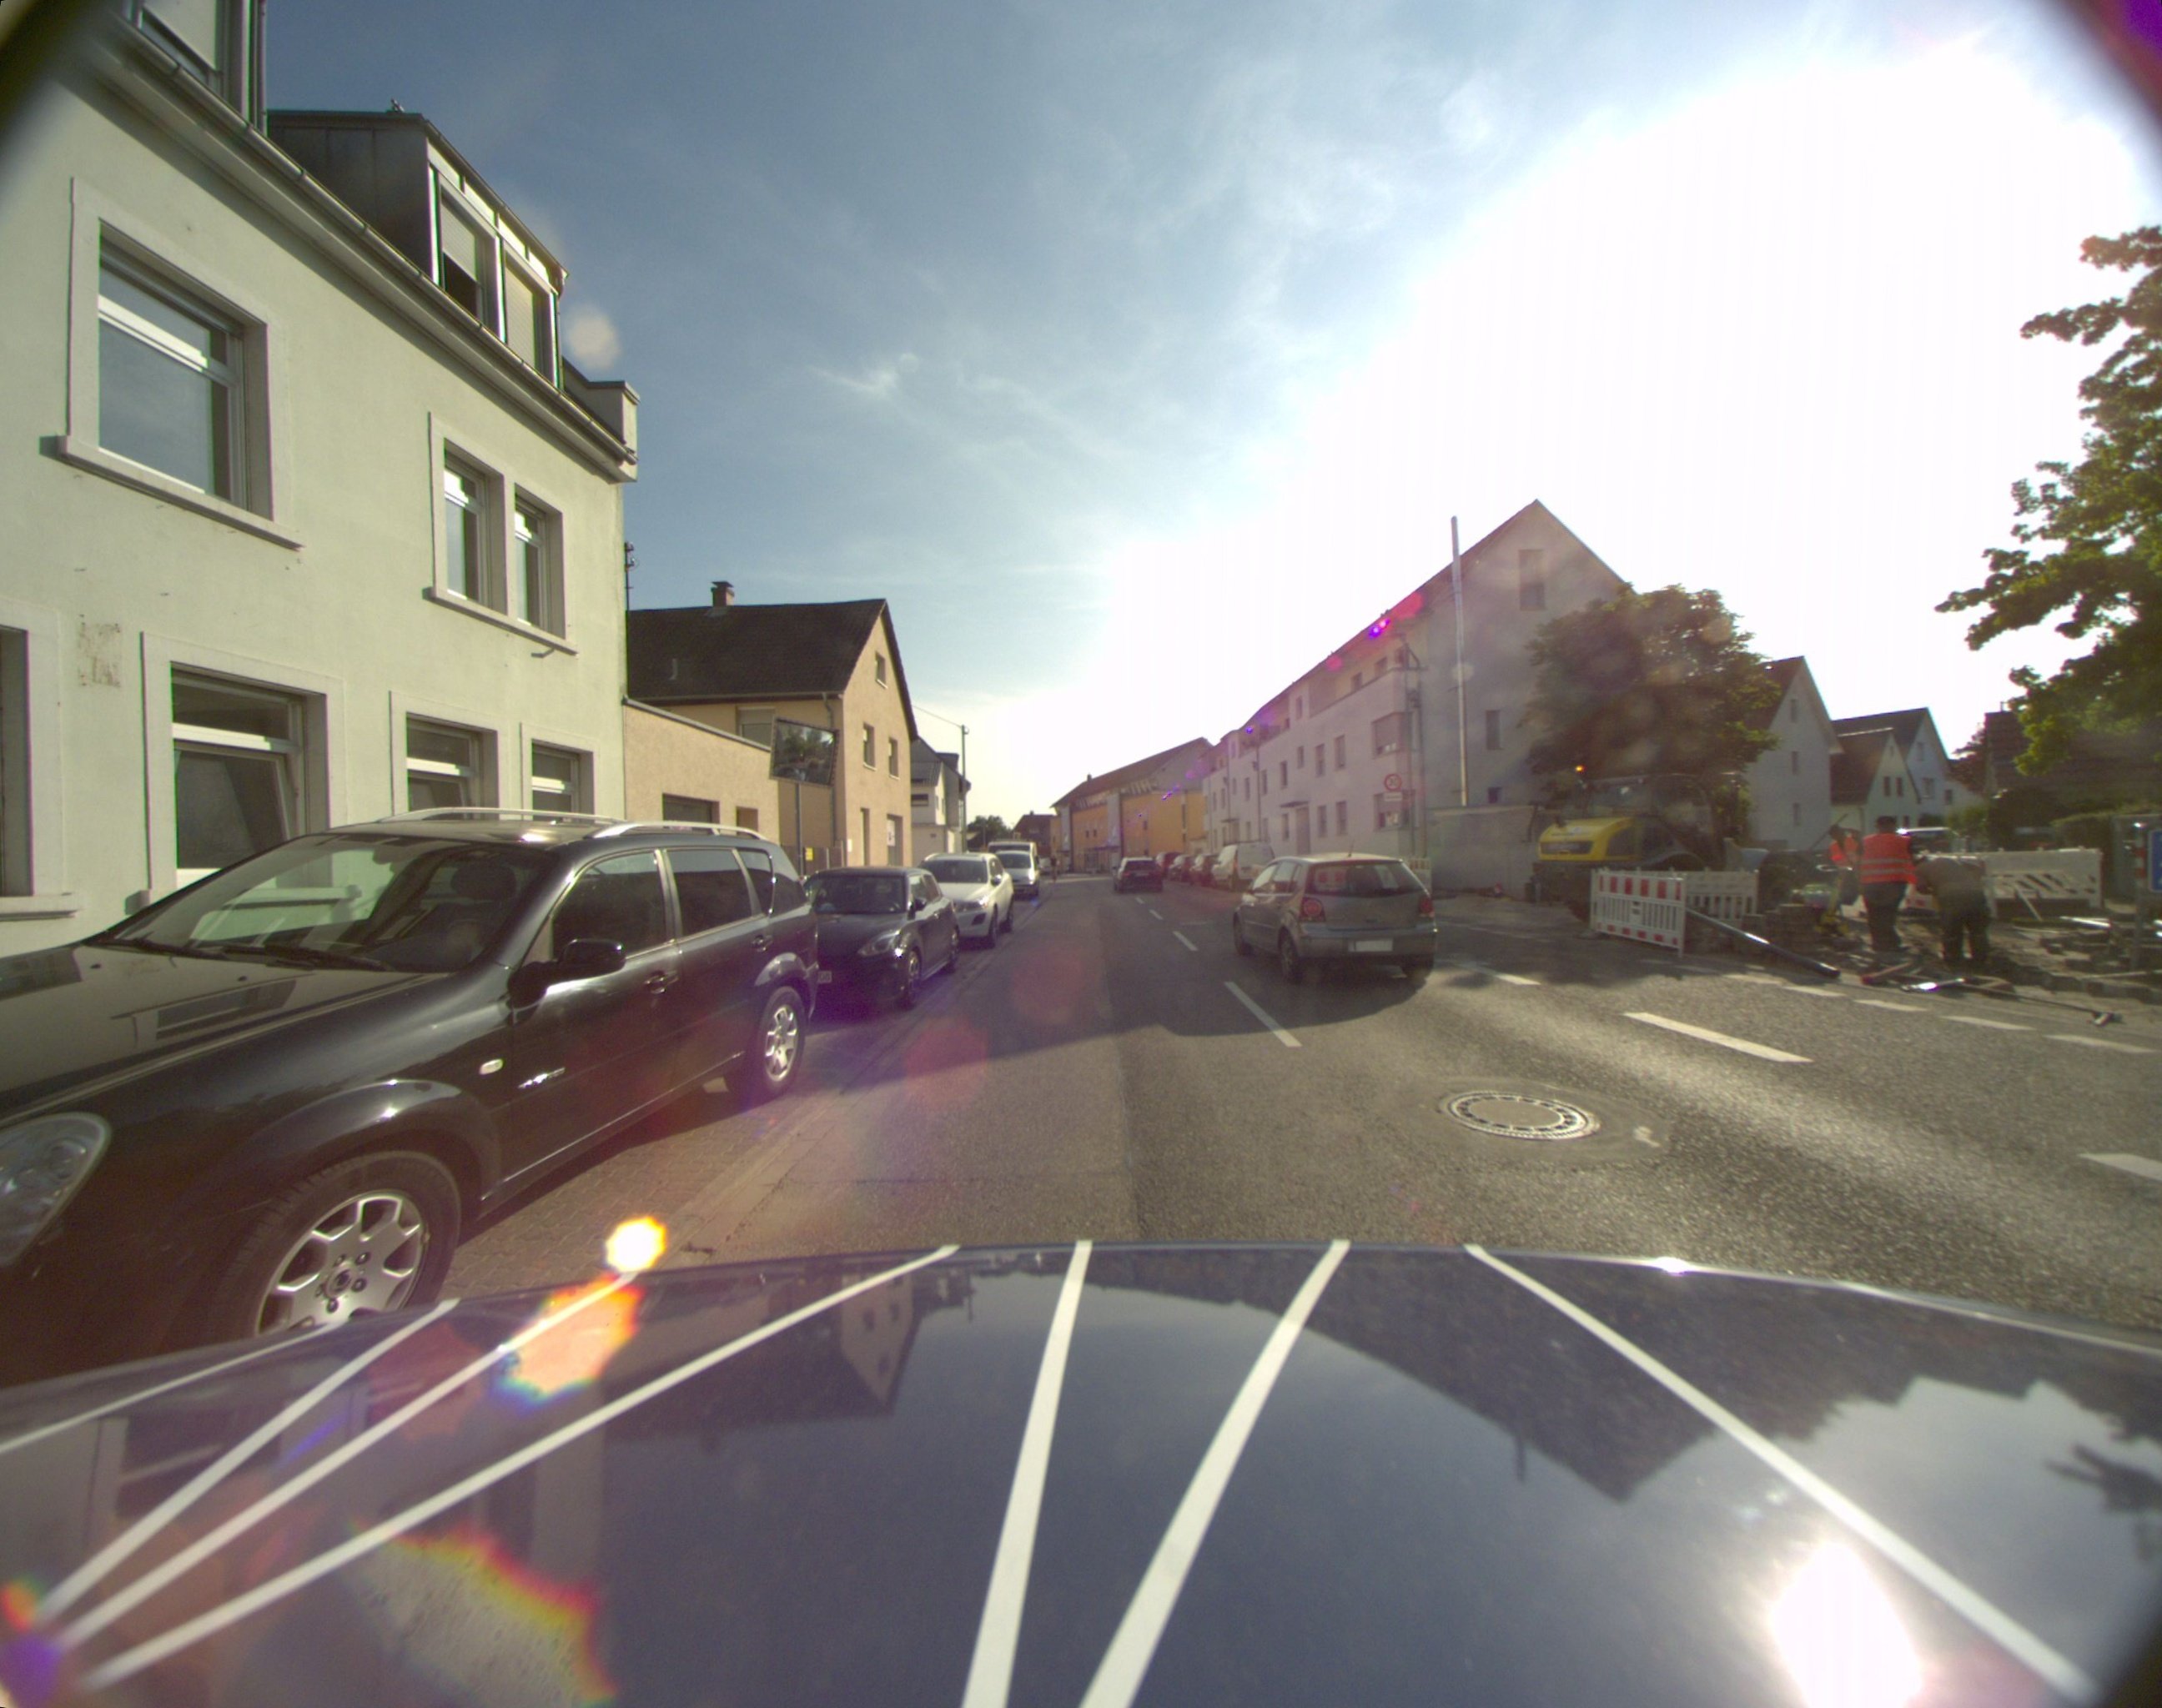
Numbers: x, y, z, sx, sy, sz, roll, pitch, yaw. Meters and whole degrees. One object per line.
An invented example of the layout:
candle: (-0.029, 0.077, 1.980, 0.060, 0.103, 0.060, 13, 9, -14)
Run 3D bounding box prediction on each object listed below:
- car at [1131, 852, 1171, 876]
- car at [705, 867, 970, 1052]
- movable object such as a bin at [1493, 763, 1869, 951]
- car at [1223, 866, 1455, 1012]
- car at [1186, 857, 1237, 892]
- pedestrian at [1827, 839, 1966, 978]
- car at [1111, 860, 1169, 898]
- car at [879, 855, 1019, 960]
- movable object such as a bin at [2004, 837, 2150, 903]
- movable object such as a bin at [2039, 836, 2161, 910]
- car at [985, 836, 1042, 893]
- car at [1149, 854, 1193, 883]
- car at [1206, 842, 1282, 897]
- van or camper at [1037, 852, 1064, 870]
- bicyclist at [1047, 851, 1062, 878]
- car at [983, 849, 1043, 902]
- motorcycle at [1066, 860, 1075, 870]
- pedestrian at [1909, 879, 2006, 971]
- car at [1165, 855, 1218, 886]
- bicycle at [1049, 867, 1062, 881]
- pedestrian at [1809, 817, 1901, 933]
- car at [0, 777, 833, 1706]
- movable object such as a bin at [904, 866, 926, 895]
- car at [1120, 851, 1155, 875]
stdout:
car: (4.713, 0.690, 51.850, 1.732, 1.469, 4.500, -3, 0, -7)
car: (-2.501, 0.979, 9.055, 1.593, 1.519, 4.613, 0, 1, 1)
movable object such as a bin: (10.659, 0.008, 13.662, 5.516, 2.883, 2.110, -3, 0, -11)
car: (3.051, 0.913, 9.783, 1.622, 1.446, 3.684, -1, 0, -2)
car: (5.899, 0.896, 34.680, 1.497, 1.456, 3.513, -3, 0, -3)
pedestrian: (10.383, 0.660, 9.718, 0.669, 1.654, 0.993, -3, 1, 2)
car: (2.381, 1.002, 31.640, 1.835, 1.412, 4.207, -1, 0, -3)
car: (-2.333, 0.883, 14.602, 1.816, 1.674, 4.476, 0, 0, 1)
movable object such as a bin: (23.677, 0.369, 18.148, 1.418, 1.412, 1.994, -5, 2, -42)
movable object such as a bin: (21.840, 0.392, 16.217, 1.323, 1.439, 1.621, -5, 2, -42)
car: (-2.882, 0.447, 33.651, 2.180, 2.313, 4.997, 0, 0, -1)
car: (5.486, 0.855, 46.740, 1.732, 1.612, 4.261, -2, 0, -6)
car: (6.338, 0.586, 30.089, 1.732, 1.949, 4.437, -2, 0, -4)
van or camper: (-3.673, 0.788, 89.933, 2.001, 1.991, 4.914, -2, 0, -17)
bicyclist: (-1.677, 0.663, 48.132, 0.846, 1.680, 0.877, -2, 1, -8)
car: (-2.370, 0.720, 27.490, 1.782, 1.731, 4.483, 1, 0, 0)
motorcycle: (-1.343, 1.393, 96.458, 0.584, 1.176, 1.875, -2, 0, -19)
pedestrian: (11.041, 0.880, 9.589, 0.500, 1.093, 0.597, -3, 1, 2)
car: (5.886, 0.845, 40.877, 1.732, 1.469, 4.261, -4, 0, -6)
bicycle: (-1.624, 1.253, 48.002, 0.680, 0.849, 2.025, -2, 0, -7)
pedestrian: (13.887, 0.370, 13.657, 0.766, 2.007, 0.894, -2, 1, 13)
car: (-3.065, 0.786, 3.518, 2.080, 1.845, 4.611, 0, 0, 4)
movable object such as a bin: (-6.622, 1.057, 30.329, 0.730, 1.087, 0.553, -2, 1, -1)
car: (4.228, 0.675, 57.605, 1.781, 1.612, 4.175, -4, 0, -7)
